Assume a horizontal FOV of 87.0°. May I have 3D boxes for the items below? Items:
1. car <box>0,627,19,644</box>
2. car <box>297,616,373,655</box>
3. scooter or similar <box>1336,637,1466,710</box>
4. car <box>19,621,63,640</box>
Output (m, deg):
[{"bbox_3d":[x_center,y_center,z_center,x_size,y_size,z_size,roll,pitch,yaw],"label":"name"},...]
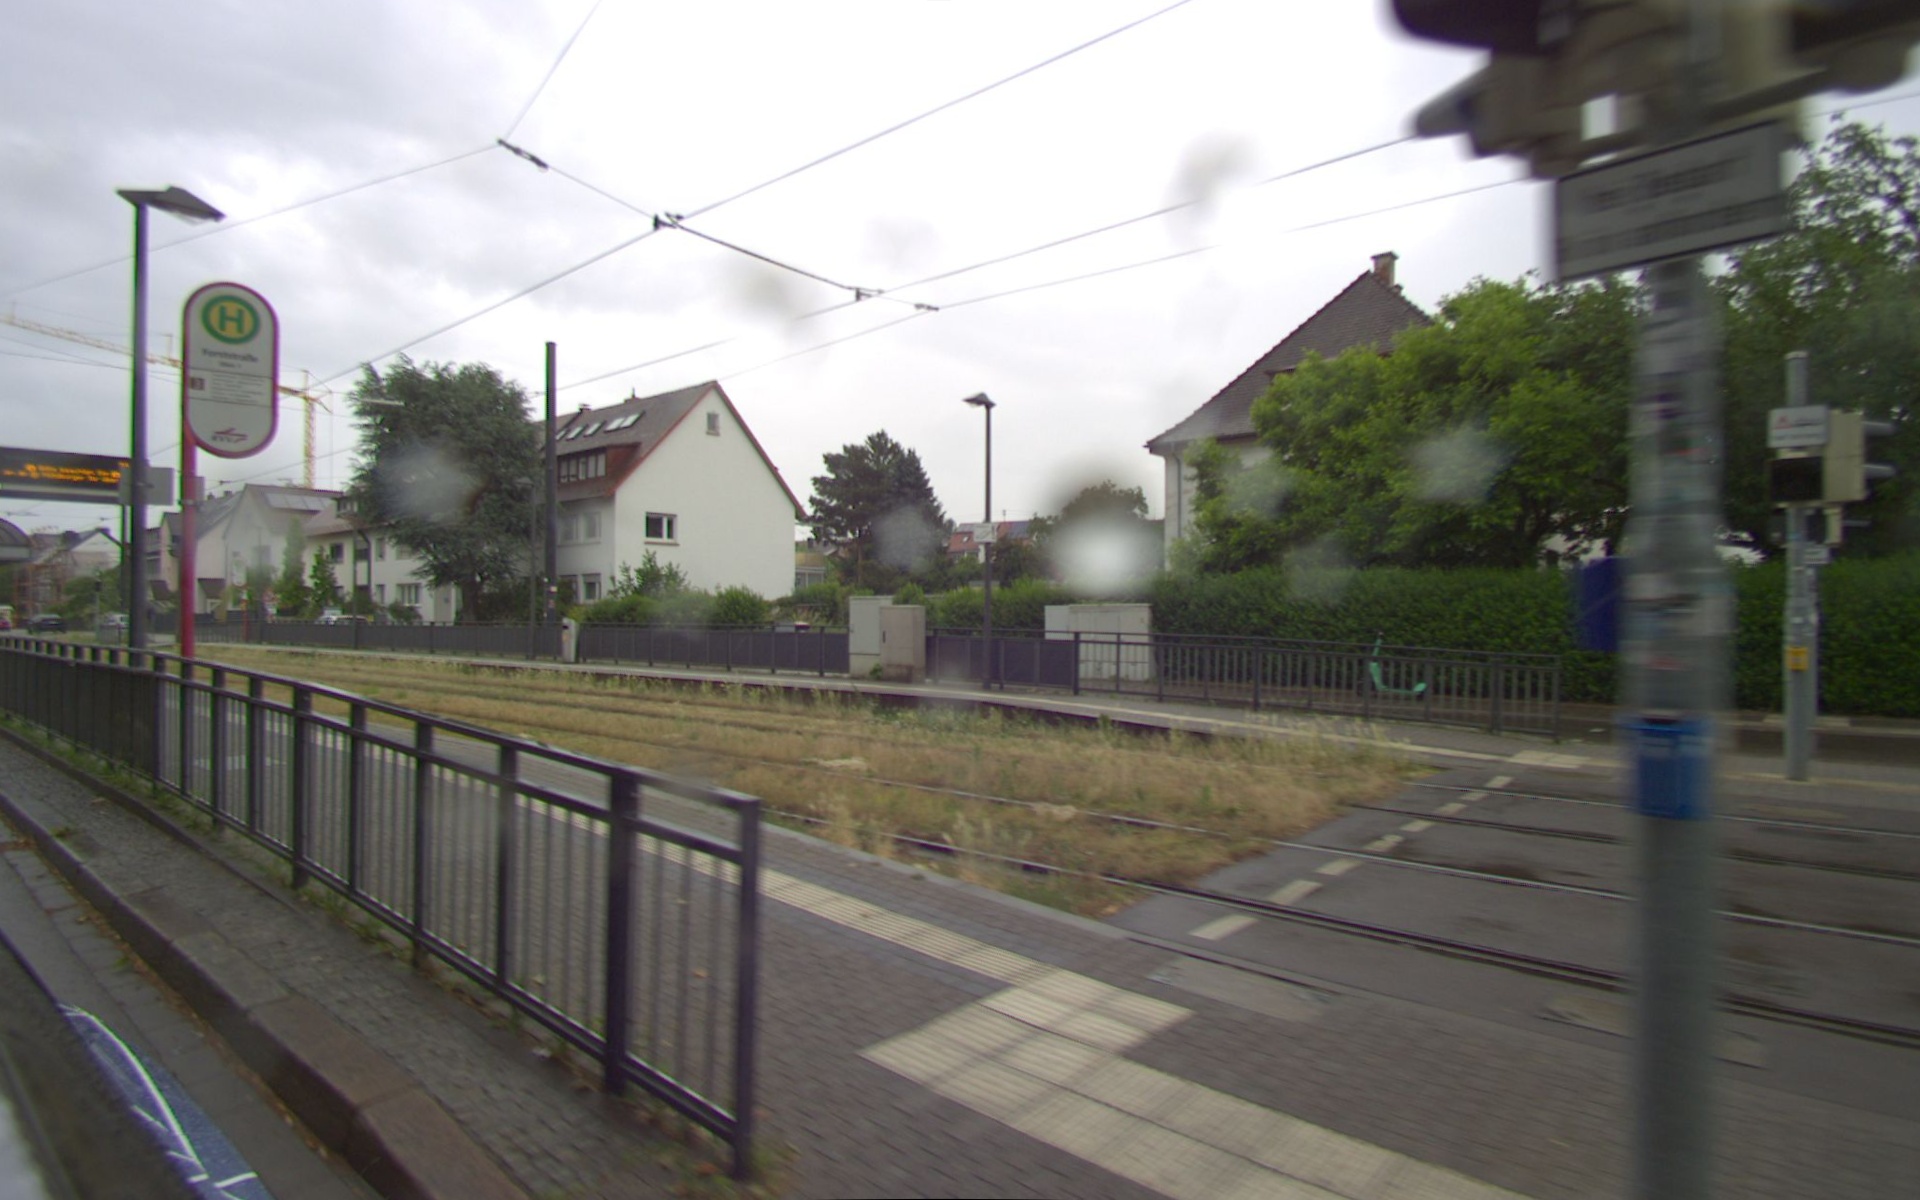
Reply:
[{"bbox_3d":[-87.825,3.243,92.572,3.837,1.383,1.975,0,0,37],"label":"car"},{"bbox_3d":[-26.003,1.444,42.062,3.998,1.504,1.616,0,0,41],"label":"car"},{"bbox_3d":[7.252,1.175,16.706,1.866,1.079,0.656,0,0,42],"label":"scooter or similar"},{"bbox_3d":[-71.781,2.386,79.049,4.167,1.437,1.820,-2,-1,37],"label":"car"}]
